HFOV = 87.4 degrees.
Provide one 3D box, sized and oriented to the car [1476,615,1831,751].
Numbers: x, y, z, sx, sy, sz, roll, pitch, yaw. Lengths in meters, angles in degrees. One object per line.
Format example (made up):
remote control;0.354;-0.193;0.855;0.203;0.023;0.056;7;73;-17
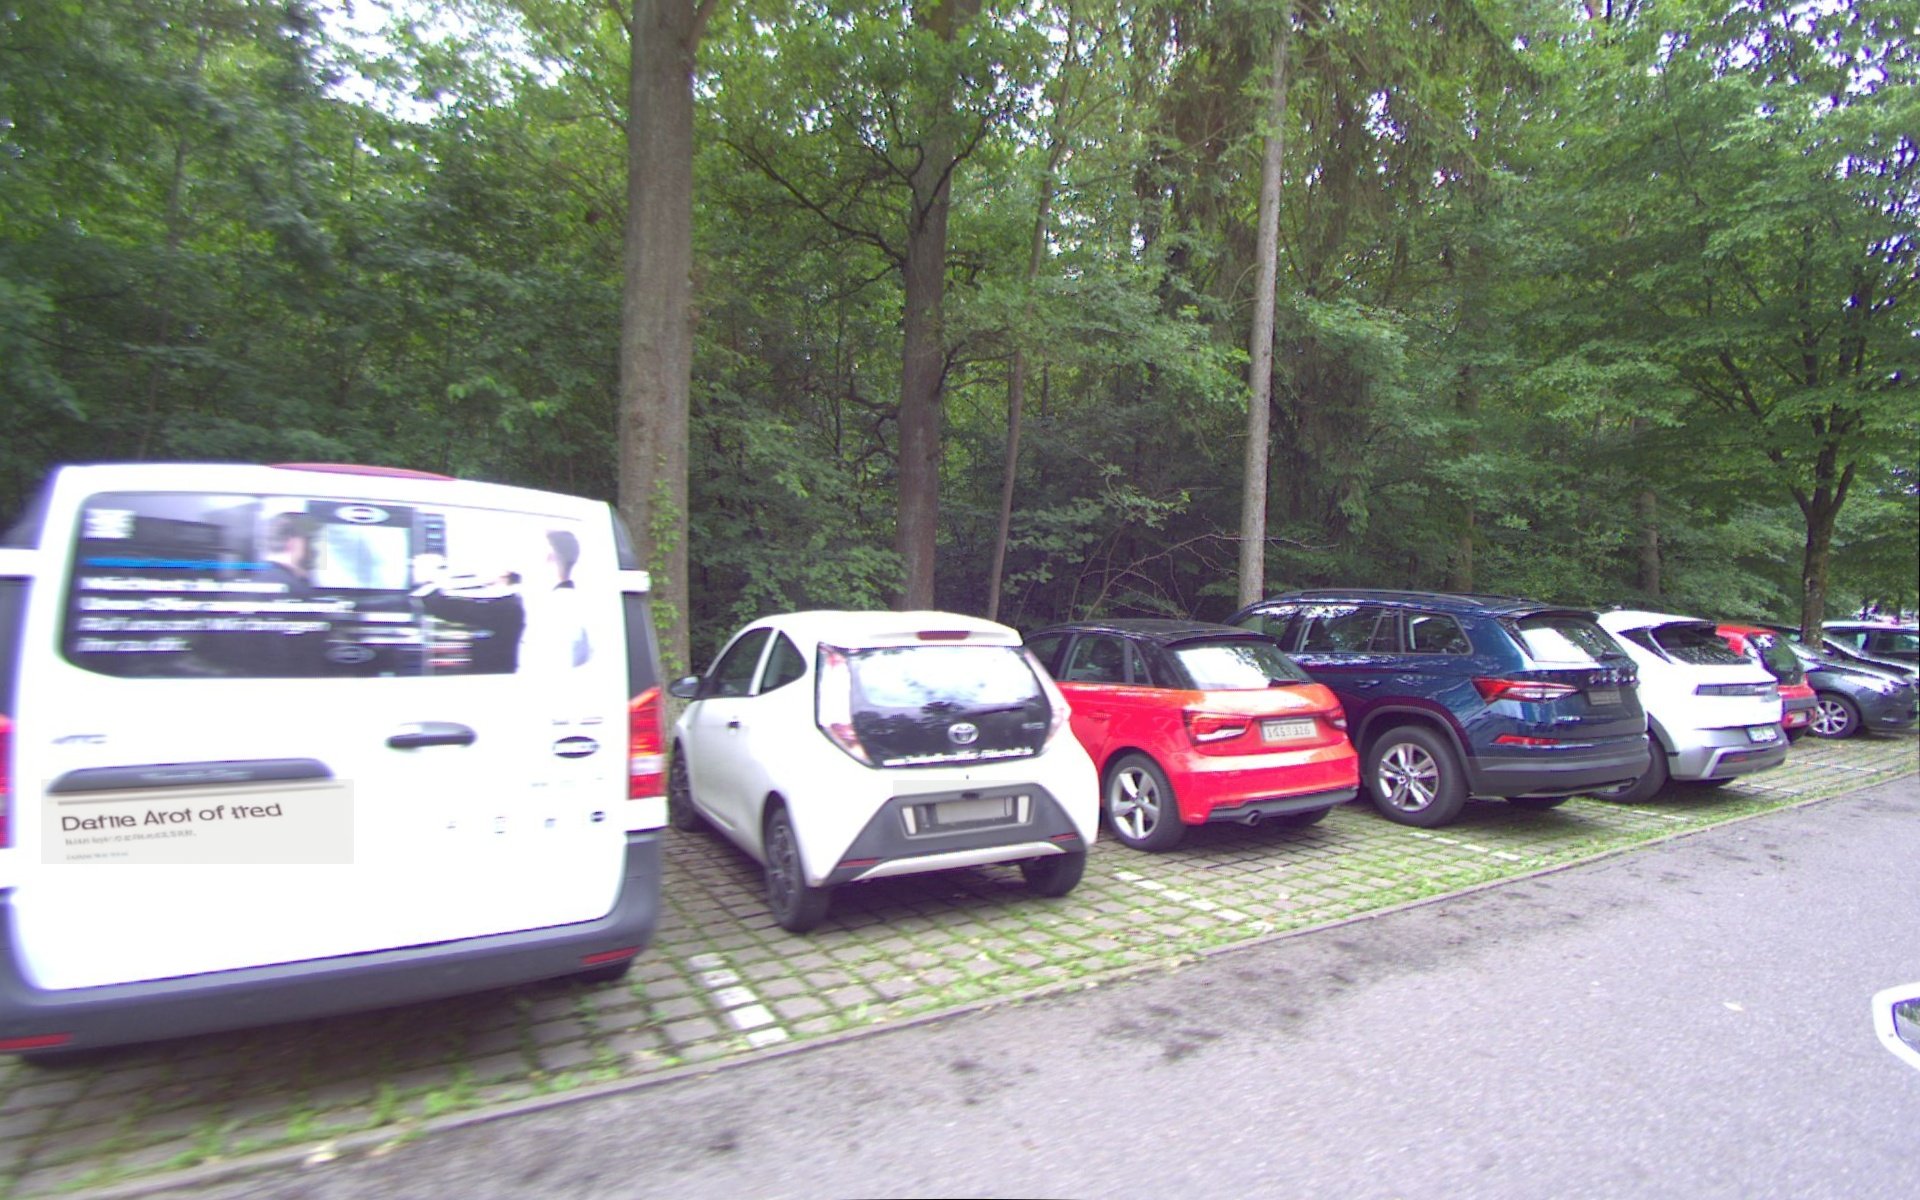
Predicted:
car;9.144;0.981;13.515;1.656;1.494;3.585;1;0;-33

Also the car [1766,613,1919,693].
car;20.691;1.149;22.230;1.955;1.669;4.194;1;0;-42

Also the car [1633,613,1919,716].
car;14.347;1.037;17.332;1.704;1.493;4.202;2;0;-37

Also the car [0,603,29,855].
car;-5.366;0.745;3.859;1.702;1.397;3.969;1;1;-29

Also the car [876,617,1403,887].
car;1.086;0.890;7.774;1.803;1.464;3.964;1;-1;-33

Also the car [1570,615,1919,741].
car;11.386;1.006;14.624;1.692;1.511;3.957;1;0;-37

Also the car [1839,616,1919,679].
car;26.469;1.285;26.982;1.977;1.649;3.936;1;0;-34

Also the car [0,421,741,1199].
car;-2.752;0.565;4.911;1.954;1.941;5.064;1;0;-28

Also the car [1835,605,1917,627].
car;73.568;1.276;80.767;4.674;1.616;1.951;1;1;39

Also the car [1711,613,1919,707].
car;16.879;1.081;18.755;1.988;1.550;4.202;1;0;-37

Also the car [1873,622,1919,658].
car;41.748;1.749;42.625;4.314;1.506;1.883;1;-1;40

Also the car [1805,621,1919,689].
car;22.773;1.293;23.288;2.078;1.497;4.599;1;0;-40

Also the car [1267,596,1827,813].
car;5.416;0.796;9.881;2.009;1.619;4.330;1;0;-33

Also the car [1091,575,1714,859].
car;3.335;0.678;8.511;2.146;1.717;4.402;0;1;-31

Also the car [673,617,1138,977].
car;-0.572;0.855;6.025;1.634;1.486;3.214;0;-1;-27

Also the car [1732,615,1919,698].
car;18.726;1.131;20.718;1.749;1.554;4.196;1;0;-41

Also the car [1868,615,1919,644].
car;58.085;1.838;61.097;4.176;1.655;2.018;2;0;42
